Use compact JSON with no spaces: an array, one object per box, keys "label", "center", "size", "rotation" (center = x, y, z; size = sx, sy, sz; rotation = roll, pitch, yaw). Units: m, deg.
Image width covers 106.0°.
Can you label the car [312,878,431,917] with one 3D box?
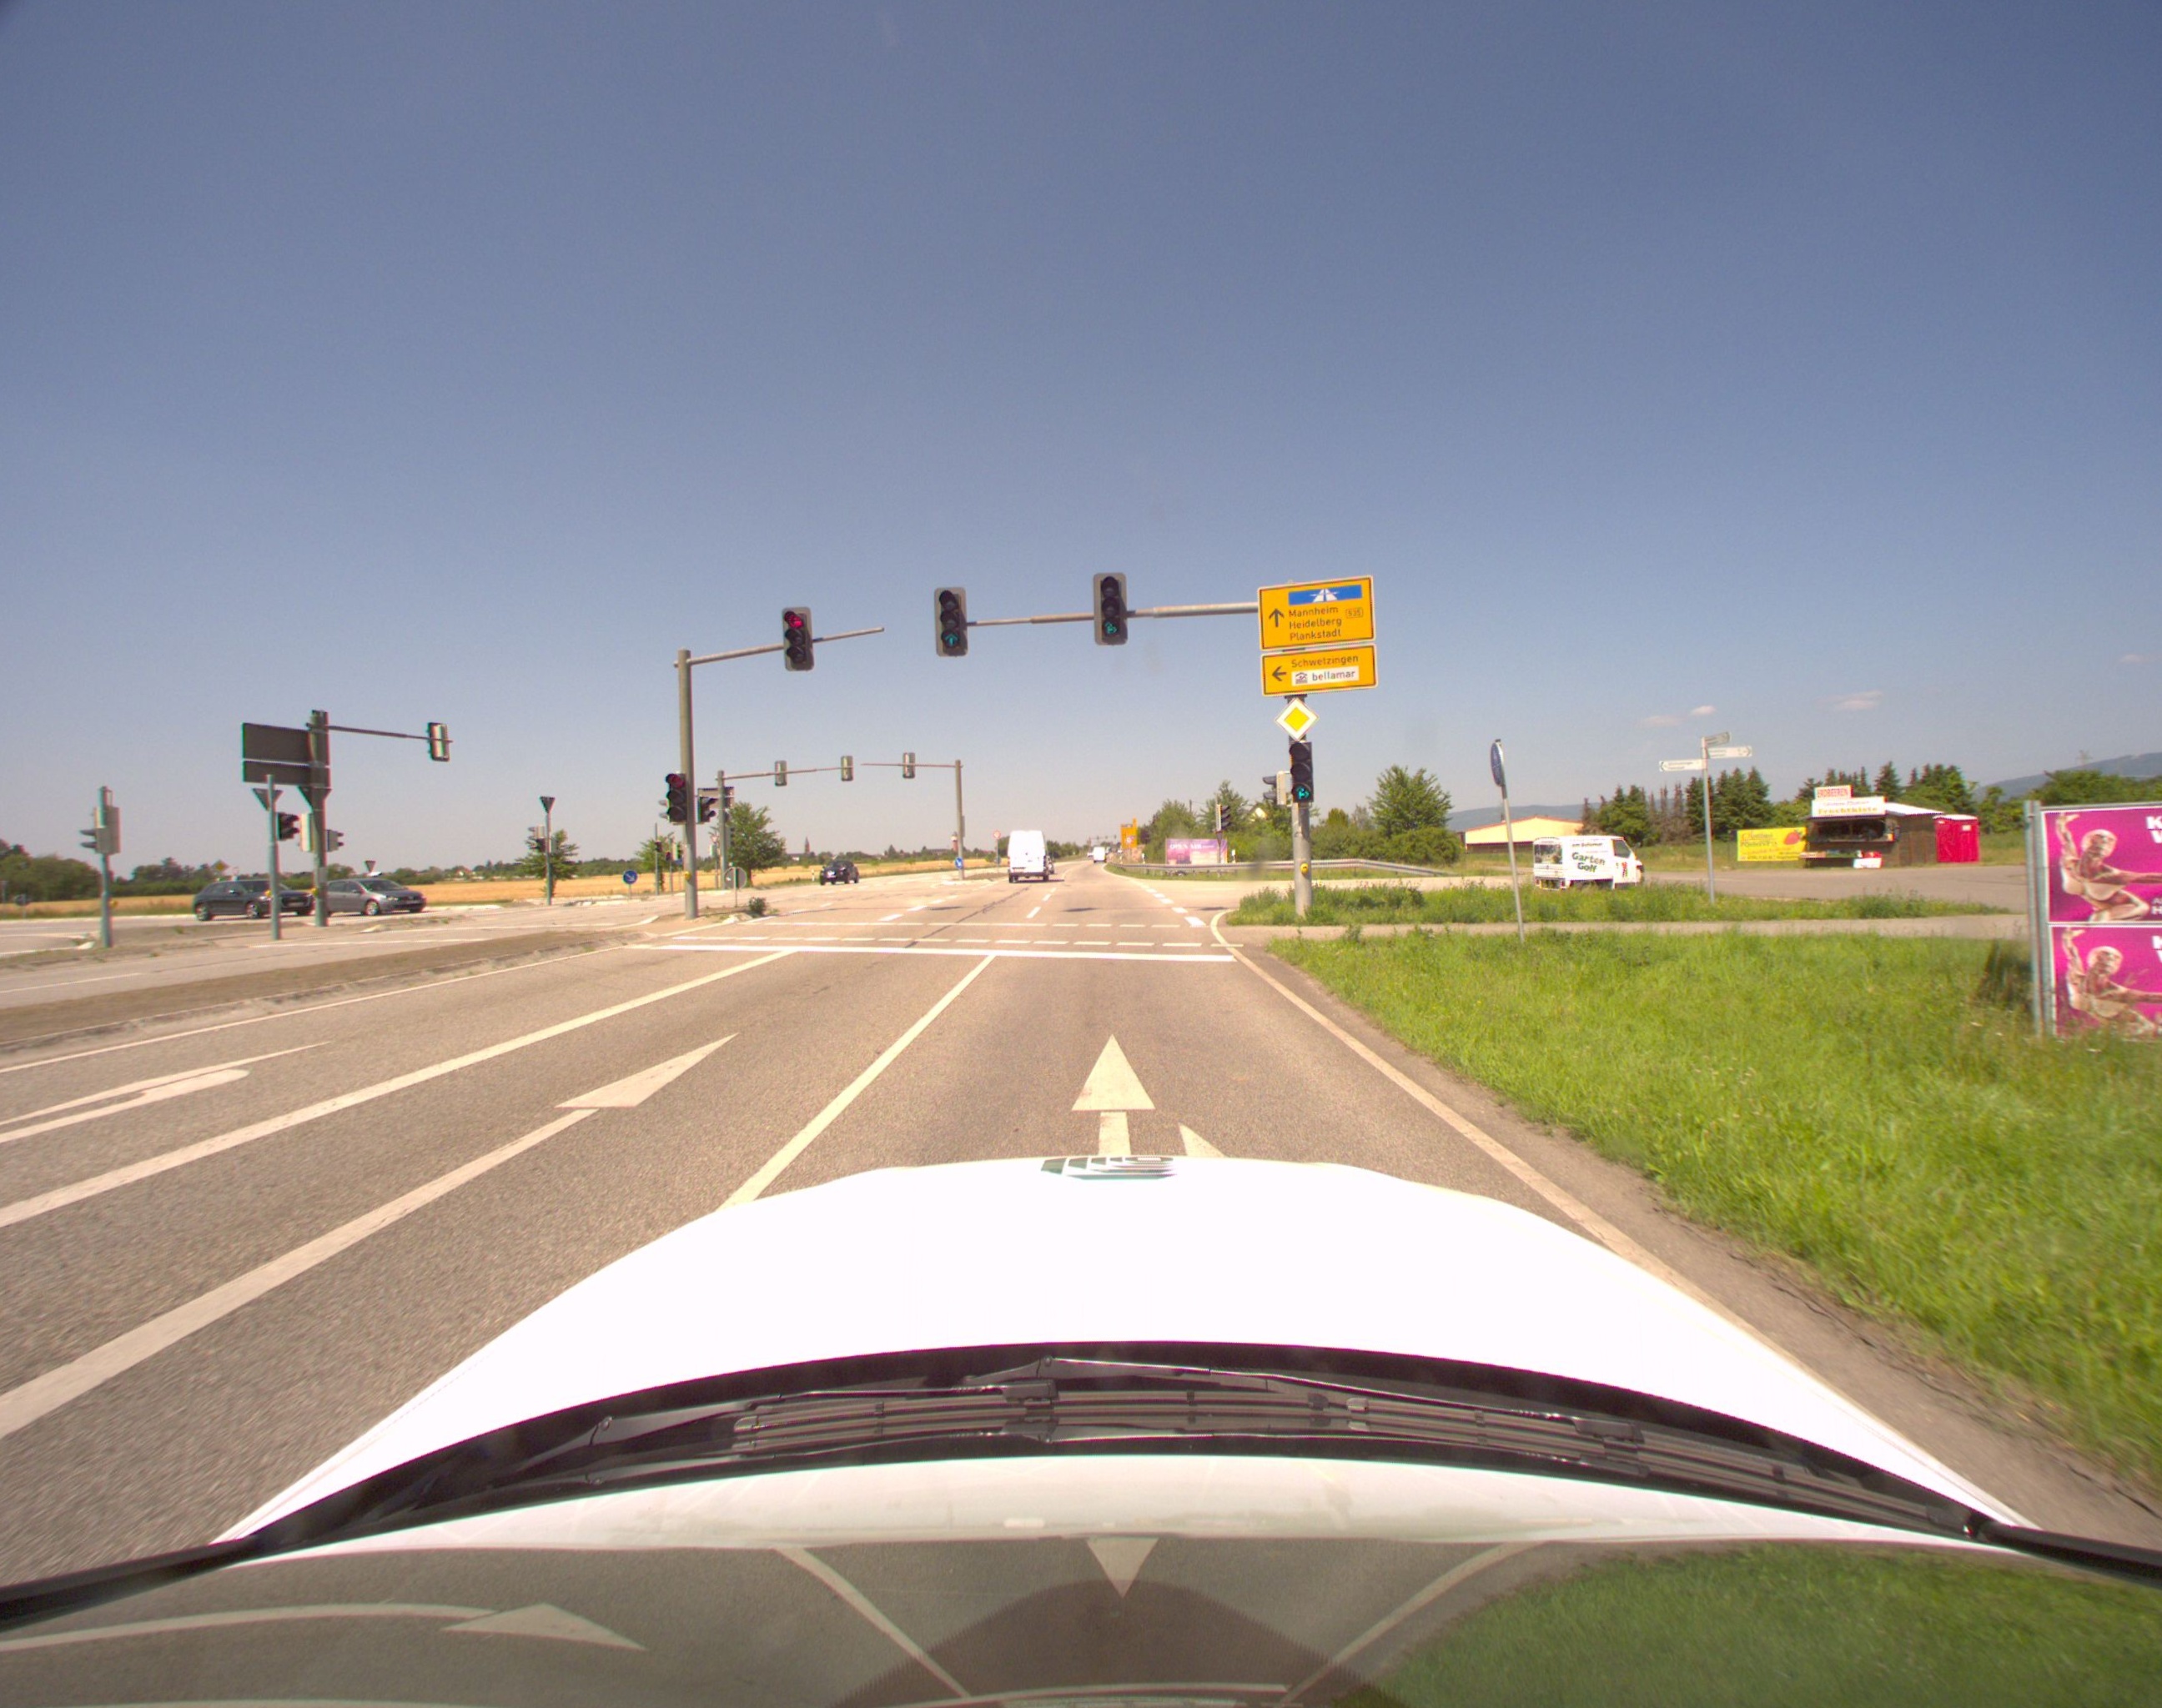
[{"label":"car","center":[-28.334,1.742,32.548],"size":[3.839,1.387,1.641],"rotation":[-2,0,14]}]

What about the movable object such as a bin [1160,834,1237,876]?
[{"label":"movable object such as a bin","center":[6.556,0.058,45.599],"size":[4.085,2.331,1.276],"rotation":[0,-1,-4]}]

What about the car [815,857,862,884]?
[{"label":"car","center":[-15.584,1.062,52.493],"size":[1.826,1.600,4.300],"rotation":[-3,-1,-3]}]

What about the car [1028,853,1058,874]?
[{"label":"car","center":[-3.032,0.722,65.416],"size":[1.791,1.508,4.202],"rotation":[-1,1,5]}]

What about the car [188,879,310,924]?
[{"label":"car","center":[-34.531,1.981,33.816],"size":[4.321,1.594,1.642],"rotation":[-3,0,16]}]

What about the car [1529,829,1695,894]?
[{"label":"car","center":[13.285,0.188,20.454],"size":[3.331,1.499,1.398],"rotation":[-1,0,-6]}]

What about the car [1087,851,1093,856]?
[{"label":"car","center":[2.974,-0.097,261.158],"size":[1.741,1.442,4.087],"rotation":[-2,0,4]}]

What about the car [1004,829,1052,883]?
[{"label":"car","center":[-2.740,0.097,43.363],"size":[2.032,2.620,5.740],"rotation":[-2,0,0]}]

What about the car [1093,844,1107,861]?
[{"label":"car","center":[3.098,-0.162,131.901],"size":[1.984,2.695,4.975],"rotation":[0,-1,5]}]
